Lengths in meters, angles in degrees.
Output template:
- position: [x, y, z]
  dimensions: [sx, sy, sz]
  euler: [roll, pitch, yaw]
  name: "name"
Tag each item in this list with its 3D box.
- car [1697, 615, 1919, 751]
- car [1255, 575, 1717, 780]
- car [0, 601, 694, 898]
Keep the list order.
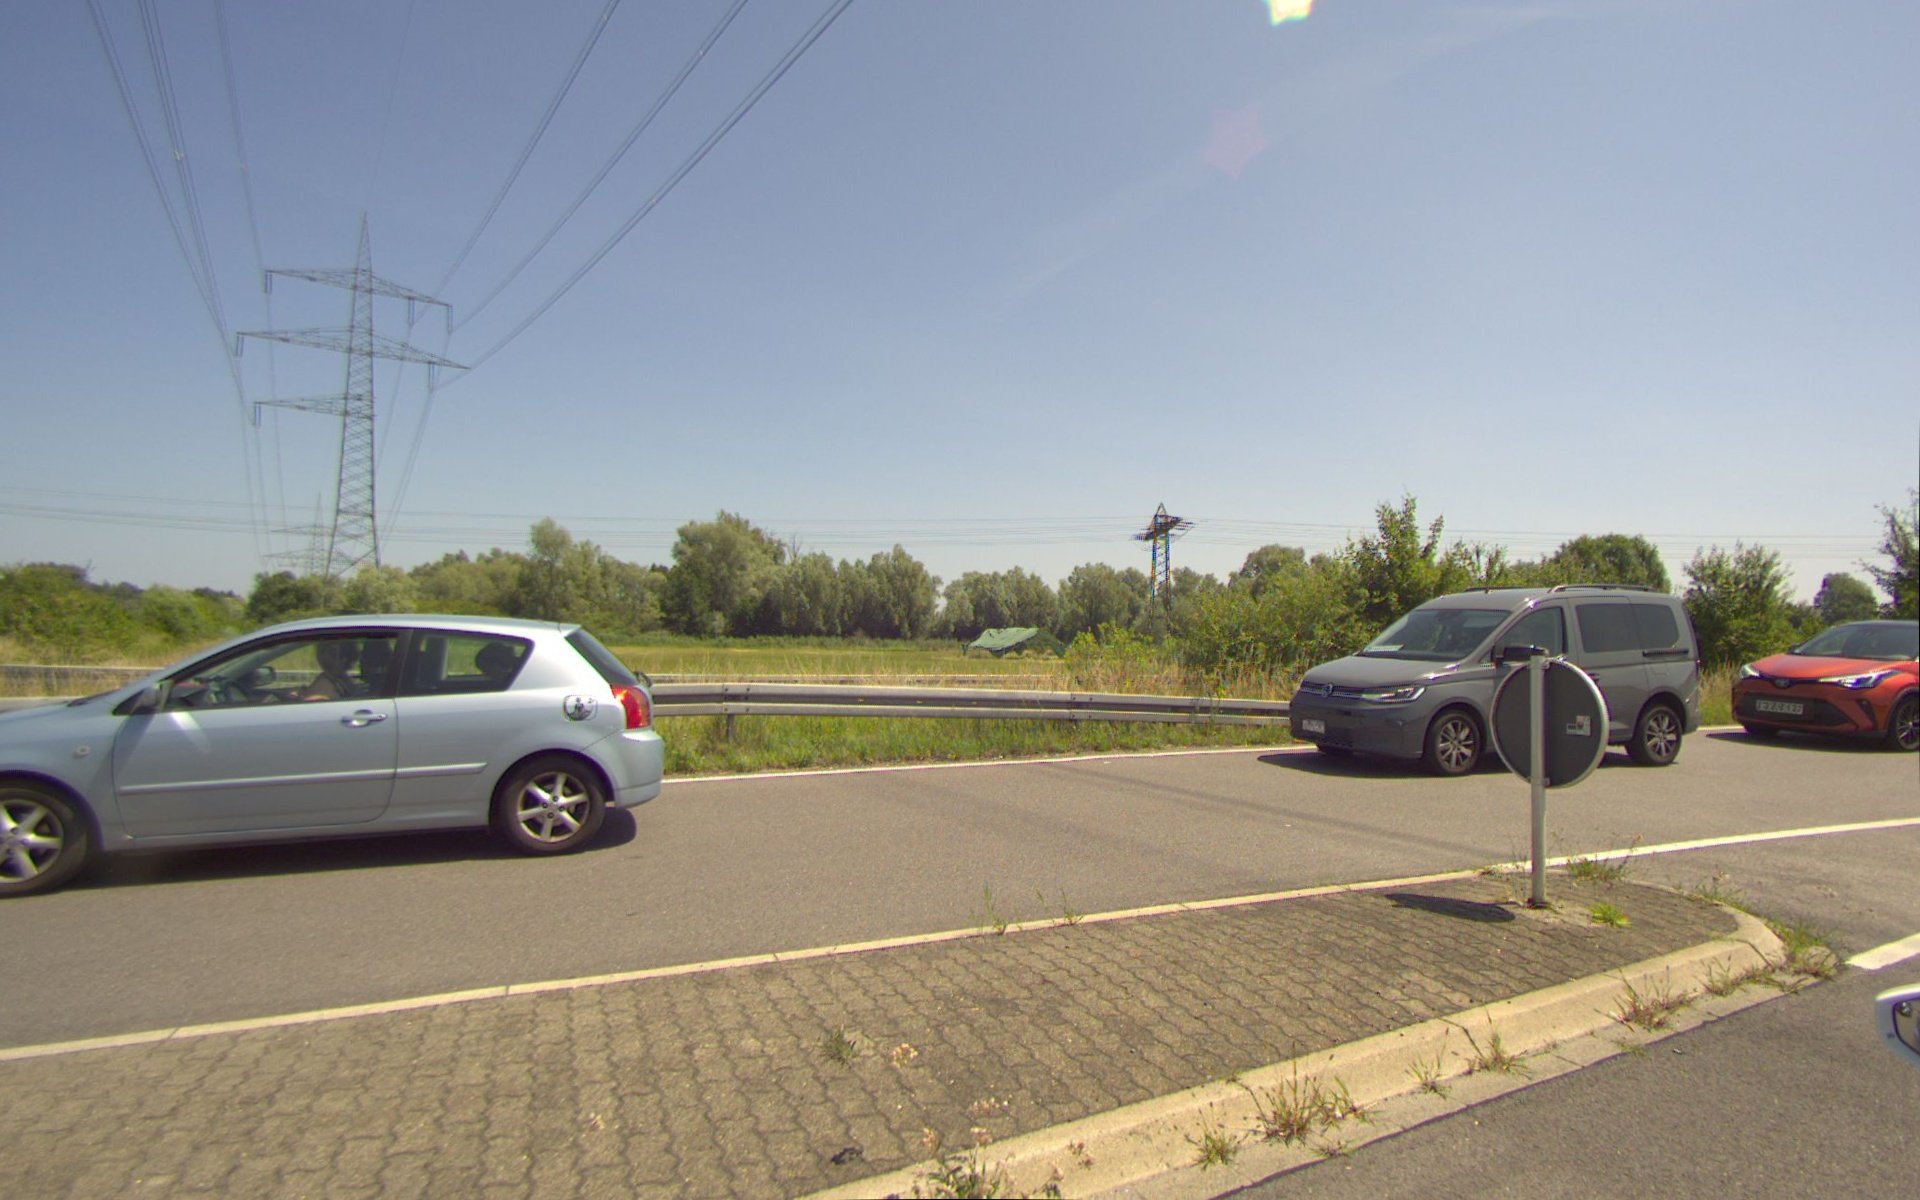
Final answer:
- position: [12.077, 1.034, 13.045]
  dimensions: [4.321, 1.535, 1.798]
  euler: [2, 0, -17]
  name: "car"
- position: [5.589, 0.798, 10.756]
  dimensions: [4.370, 1.856, 1.925]
  euler: [2, -2, -19]
  name: "car"
- position: [-3.792, 0.783, 6.296]
  dimensions: [3.949, 1.479, 1.629]
  euler: [1, -1, -22]
  name: "car"
